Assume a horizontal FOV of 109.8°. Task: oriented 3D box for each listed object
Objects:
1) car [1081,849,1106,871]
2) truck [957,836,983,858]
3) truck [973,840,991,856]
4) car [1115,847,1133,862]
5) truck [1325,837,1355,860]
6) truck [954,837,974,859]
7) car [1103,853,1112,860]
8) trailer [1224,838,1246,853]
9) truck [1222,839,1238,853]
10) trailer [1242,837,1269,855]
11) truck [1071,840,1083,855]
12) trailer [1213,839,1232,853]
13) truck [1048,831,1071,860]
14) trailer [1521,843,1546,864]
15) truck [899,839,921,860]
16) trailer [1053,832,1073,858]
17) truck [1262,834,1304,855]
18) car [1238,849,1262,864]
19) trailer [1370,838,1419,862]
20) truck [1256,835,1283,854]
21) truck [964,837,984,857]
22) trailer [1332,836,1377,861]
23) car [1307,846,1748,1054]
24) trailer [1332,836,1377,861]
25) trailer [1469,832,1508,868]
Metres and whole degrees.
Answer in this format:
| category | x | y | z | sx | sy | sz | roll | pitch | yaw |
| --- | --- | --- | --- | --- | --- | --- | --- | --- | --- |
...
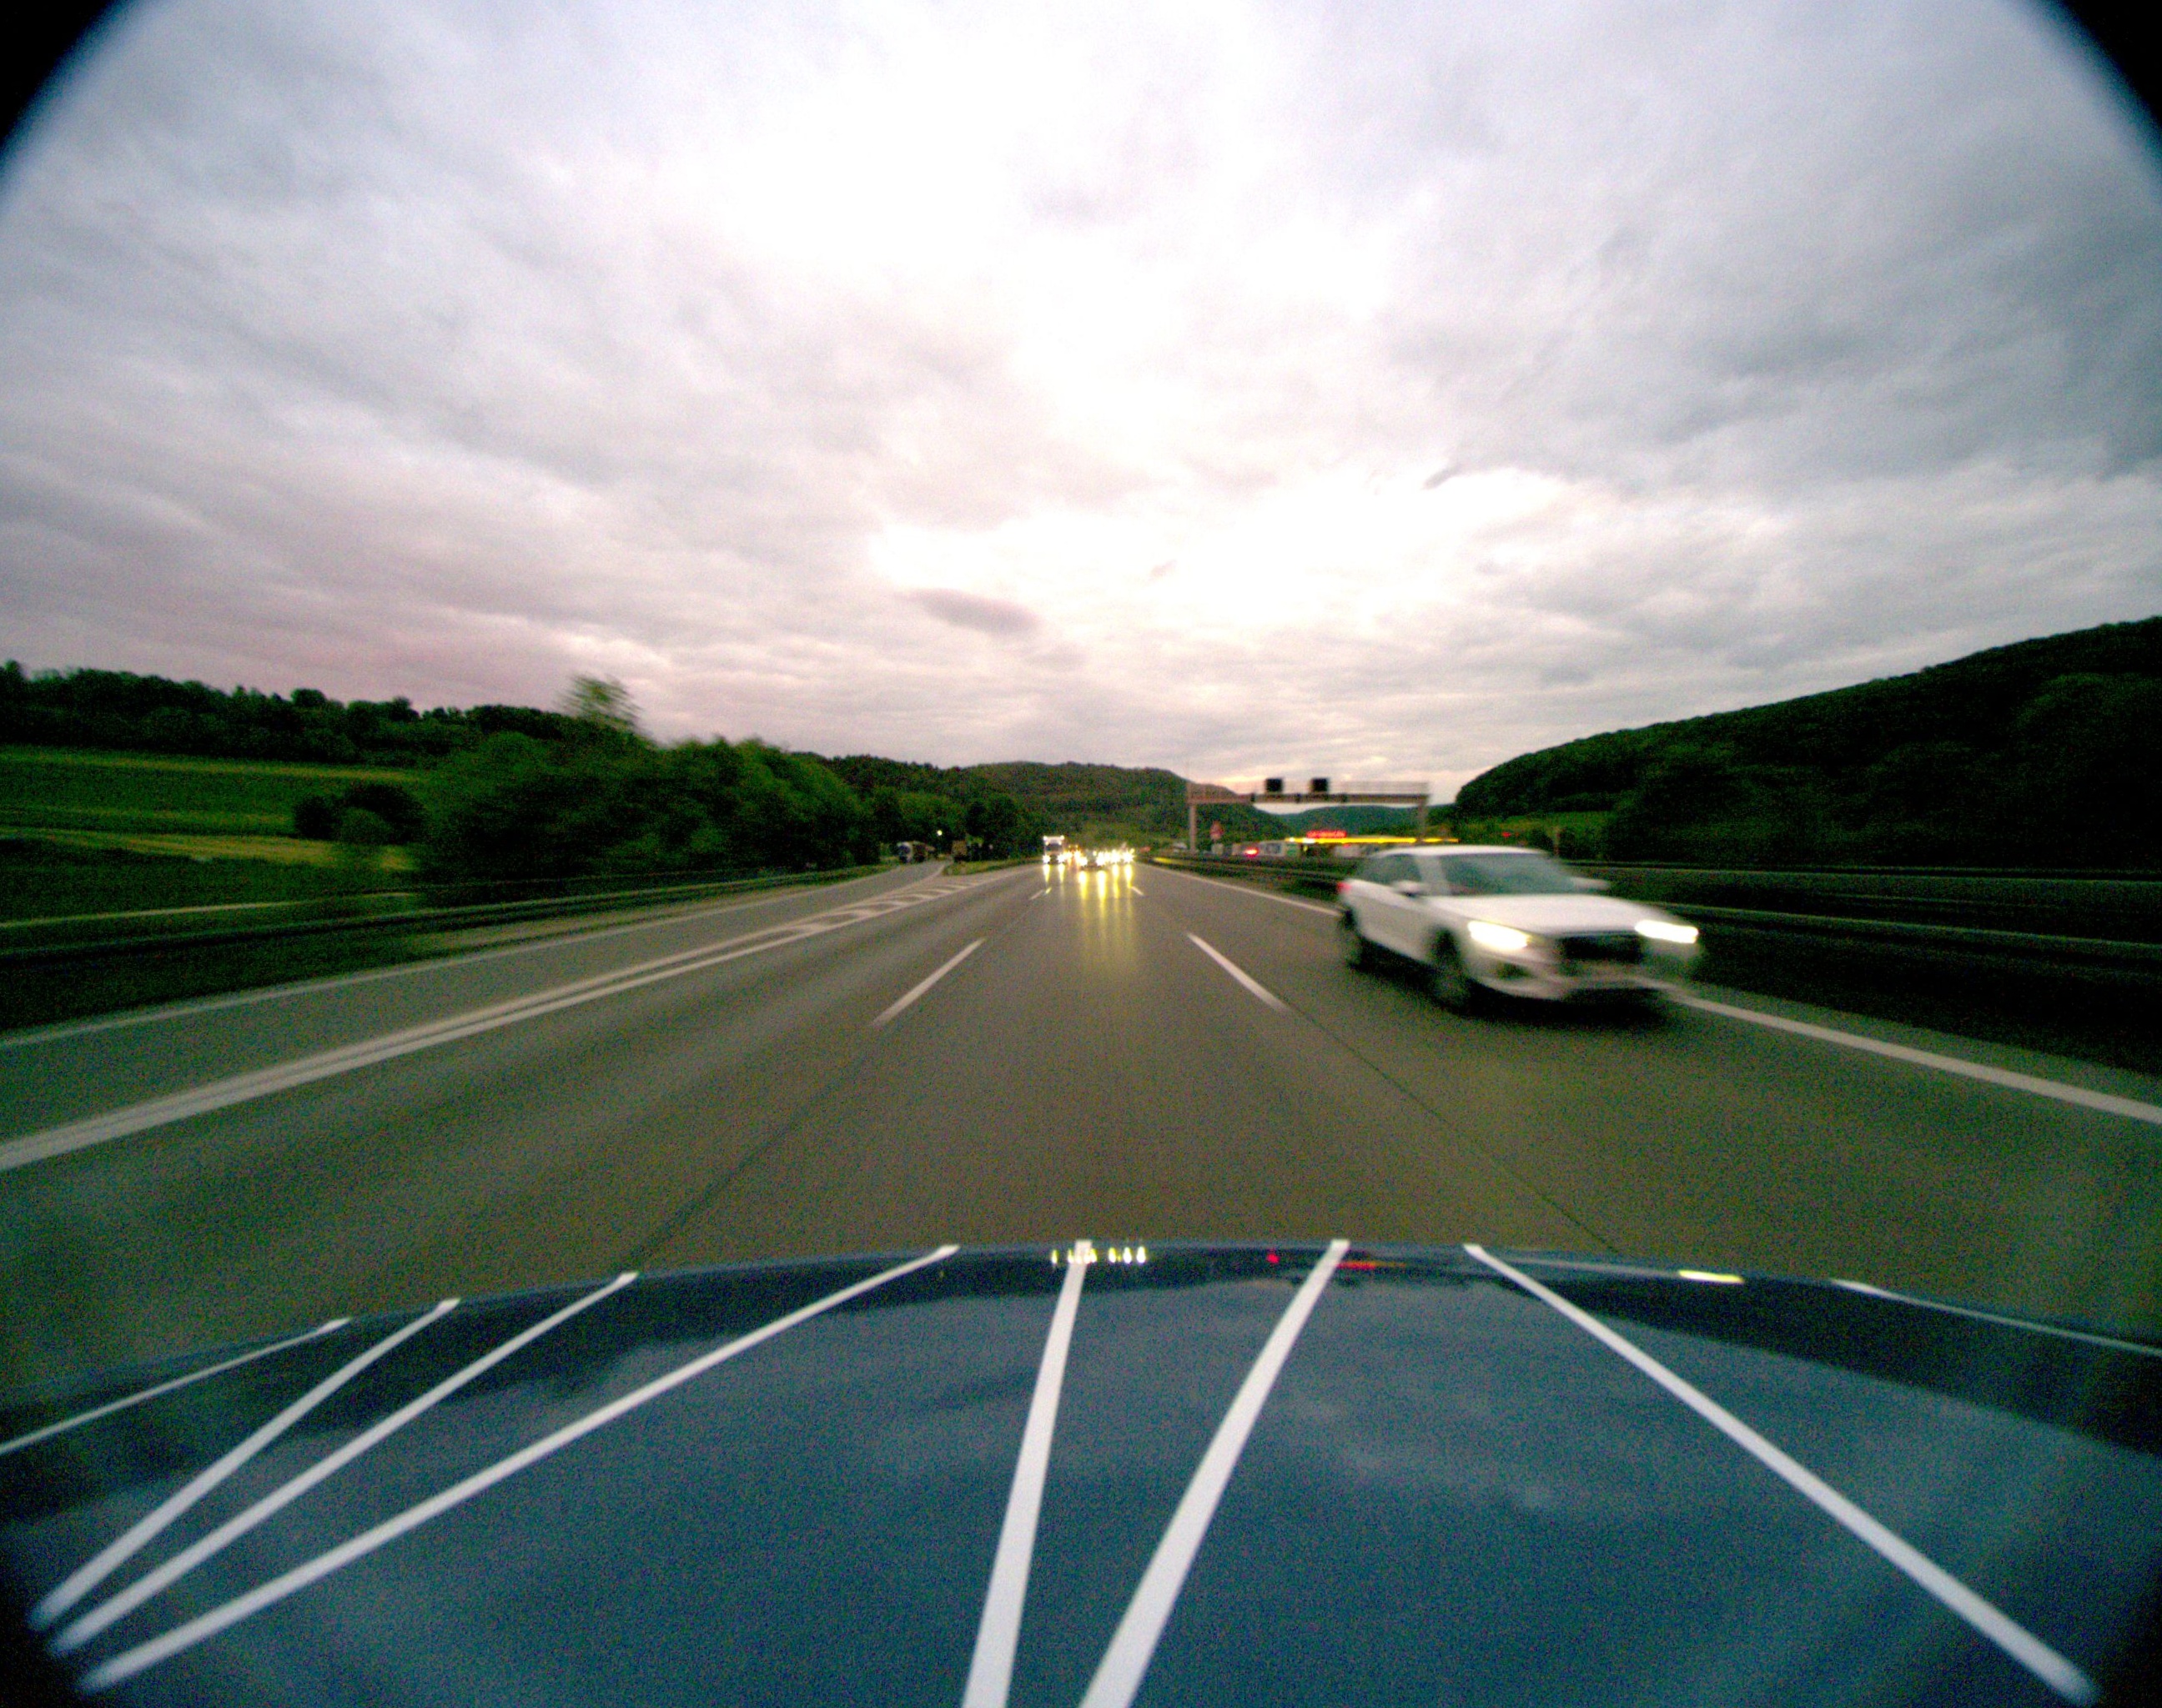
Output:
| category | x | y | z | sx | sy | sz | roll | pitch | yaw |
| --- | --- | --- | --- | --- | --- | --- | --- | --- | --- |
| car | 0.982 | 0.461 | 60.992 | 1.927 | 1.674 | 4.806 | 0 | 1 | 1 |
| truck | -23.087 | -1.479 | 158.941 | 3.785 | 4.205 | 19.517 | -1 | 1 | -4 |
| truck | -23.846 | -1.440 | 184.039 | 3.362 | 3.893 | 11.984 | 0 | 1 | -3 |
| car | 5.035 | 0.076 | 89.604 | 1.894 | 1.650 | 5.639 | -2 | 1 | 1 |
| truck | 50.563 | -1.134 | 148.673 | 3.025 | 4.235 | 8.864 | -1 | 1 | 2 |
| truck | -21.374 | -1.121 | 139.135 | 2.847 | 3.893 | 11.981 | -1 | 1 | -6 |
| car | 6.112 | 0.501 | 176.348 | 1.898 | 1.503 | 3.999 | -1 | 1 | 0 |
| trailer | 36.789 | -1.900 | 182.179 | 2.880 | 3.405 | 13.571 | -1 | 0 | 2 |
| truck | 37.029 | -1.931 | 189.124 | 2.880 | 3.405 | 6.726 | -1 | 0 | 2 |
| trailer | 35.957 | -1.608 | 157.121 | 2.880 | 3.405 | 13.851 | -1 | 0 | 2 |
| truck | -1.000 | -1.830 | 207.044 | 3.120 | 3.850 | 14.161 | 2 | 1 | 0 |
| trailer | 37.476 | -2.059 | 201.721 | 2.880 | 3.405 | 13.225 | -1 | 0 | 2 |
| truck | -2.972 | -1.231 | 107.292 | 2.623 | 3.805 | 10.385 | -1 | 1 | 1 |
| trailer | 81.454 | -0.170 | 136.686 | 2.932 | 3.499 | 13.445 | 0 | 1 | 35 |
| truck | -32.556 | -0.937 | 144.641 | 2.846 | 3.893 | 6.383 | 0 | 1 | -1 |
| trailer | -2.754 | -1.337 | 116.933 | 2.623 | 3.805 | 8.877 | -1 | 1 | 1 |
| truck | 35.064 | -1.634 | 132.829 | 2.881 | 3.405 | 13.784 | -1 | 0 | -3 |
| car | 18.789 | 0.229 | 84.664 | 1.734 | 1.577 | 4.645 | -1 | 1 | 1 |
| trailer | 49.690 | -0.657 | 120.968 | 2.880 | 3.657 | 12.716 | -1 | 0 | 2 |
| truck | 34.694 | -1.667 | 139.941 | 2.881 | 3.405 | 6.724 | -1 | 0 | -3 |
| truck | -23.733 | -1.581 | 168.773 | 3.783 | 4.205 | 8.811 | -1 | 1 | -4 |
| trailer | 50.394 | -1.045 | 140.603 | 3.025 | 4.235 | 15.946 | -1 | 0 | 2 |
| car | 4.091 | 0.702 | 8.194 | 1.794 | 1.492 | 5.037 | -2 | 0 | 0 |
| trailer | 50.333 | -1.044 | 140.604 | 3.025 | 4.235 | 15.946 | -1 | 0 | 2 |
| trailer | 45.949 | -0.535 | 85.423 | 3.063 | 3.657 | 13.368 | -1 | 0 | 31 |
